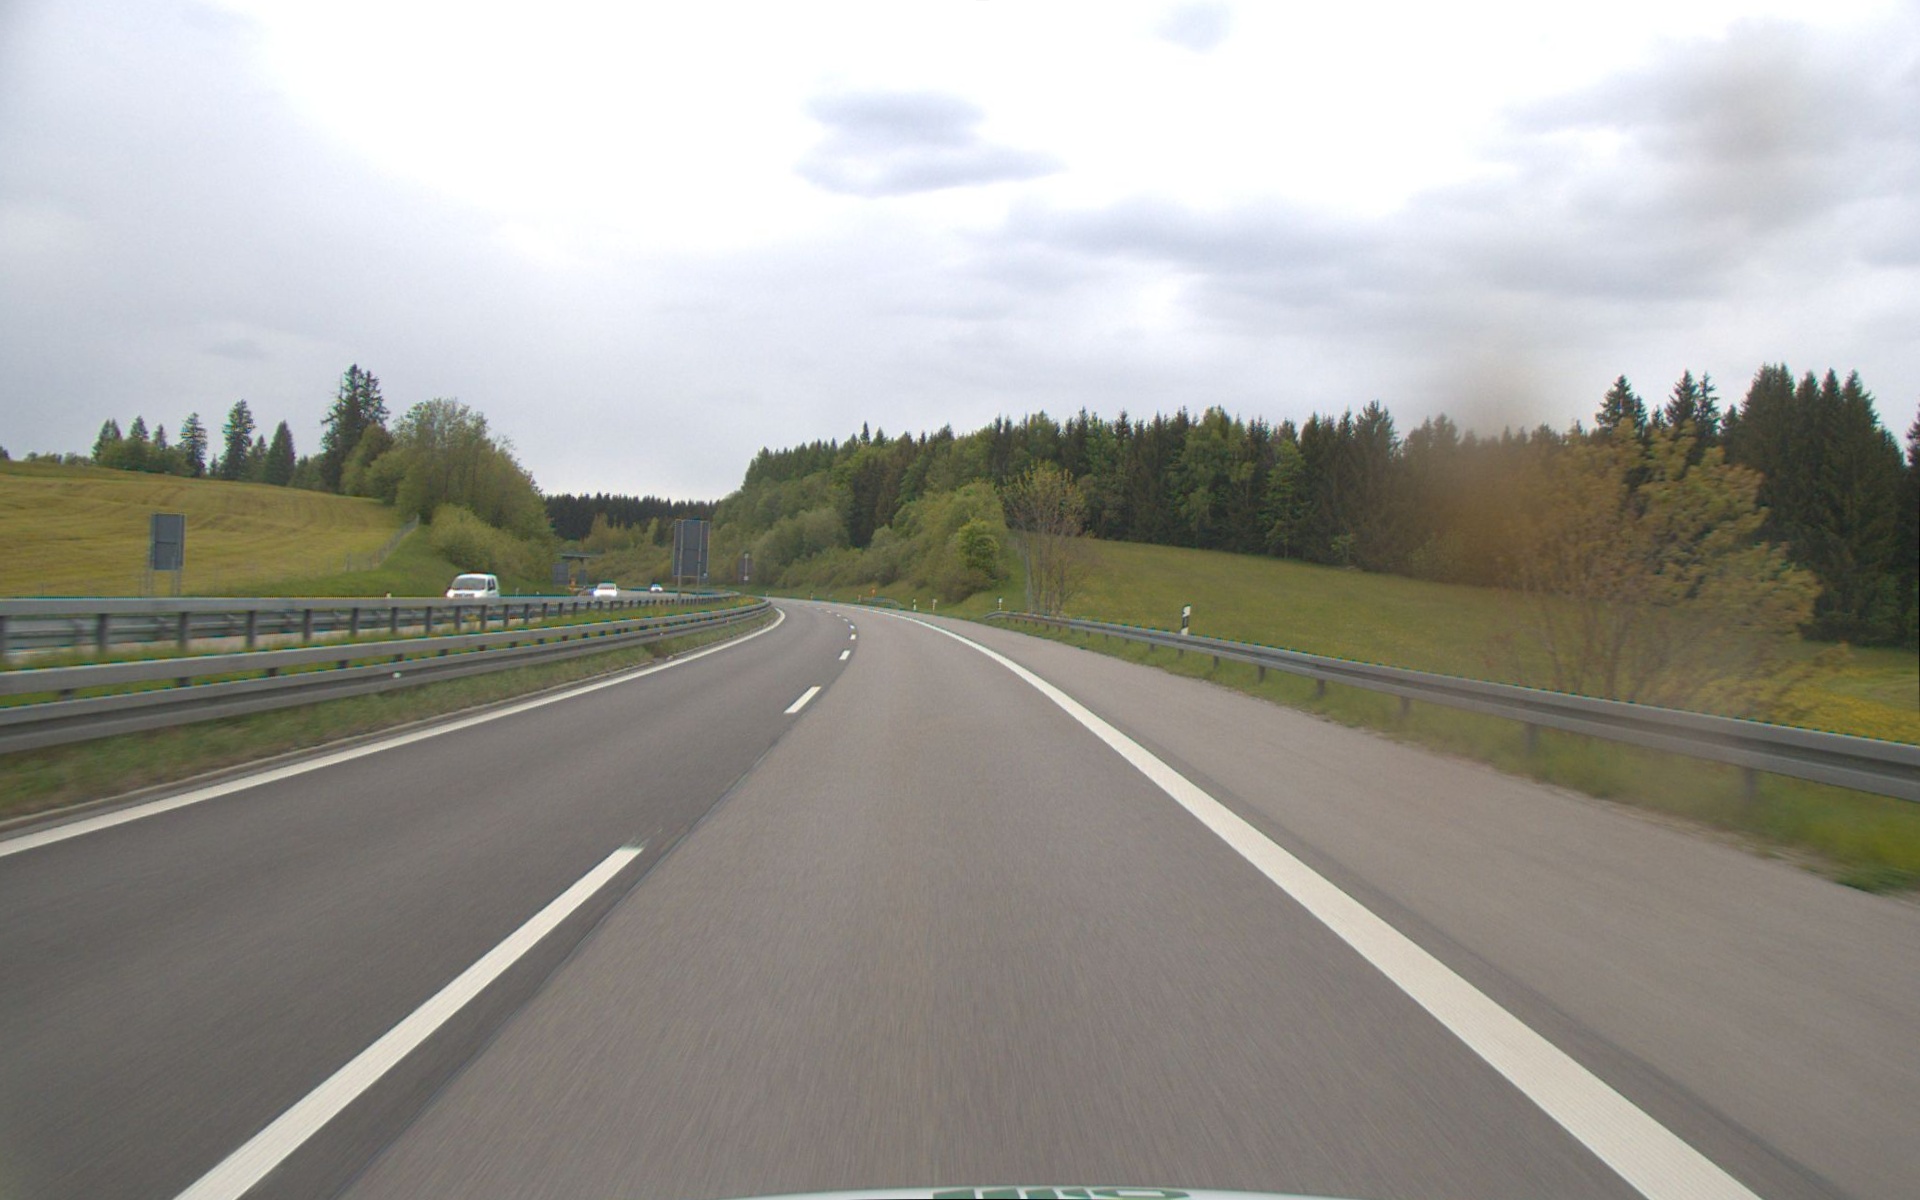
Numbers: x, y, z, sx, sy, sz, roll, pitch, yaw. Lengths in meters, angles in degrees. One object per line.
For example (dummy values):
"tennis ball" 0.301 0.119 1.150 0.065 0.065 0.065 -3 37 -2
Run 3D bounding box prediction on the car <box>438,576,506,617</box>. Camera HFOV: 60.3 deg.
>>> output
"car" -22.600 -0.196 76.806 1.954 1.715 4.623 3 0 -4

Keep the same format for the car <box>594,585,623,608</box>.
"car" -29.530 -0.305 139.066 1.997 1.720 5.045 3 0 -9
